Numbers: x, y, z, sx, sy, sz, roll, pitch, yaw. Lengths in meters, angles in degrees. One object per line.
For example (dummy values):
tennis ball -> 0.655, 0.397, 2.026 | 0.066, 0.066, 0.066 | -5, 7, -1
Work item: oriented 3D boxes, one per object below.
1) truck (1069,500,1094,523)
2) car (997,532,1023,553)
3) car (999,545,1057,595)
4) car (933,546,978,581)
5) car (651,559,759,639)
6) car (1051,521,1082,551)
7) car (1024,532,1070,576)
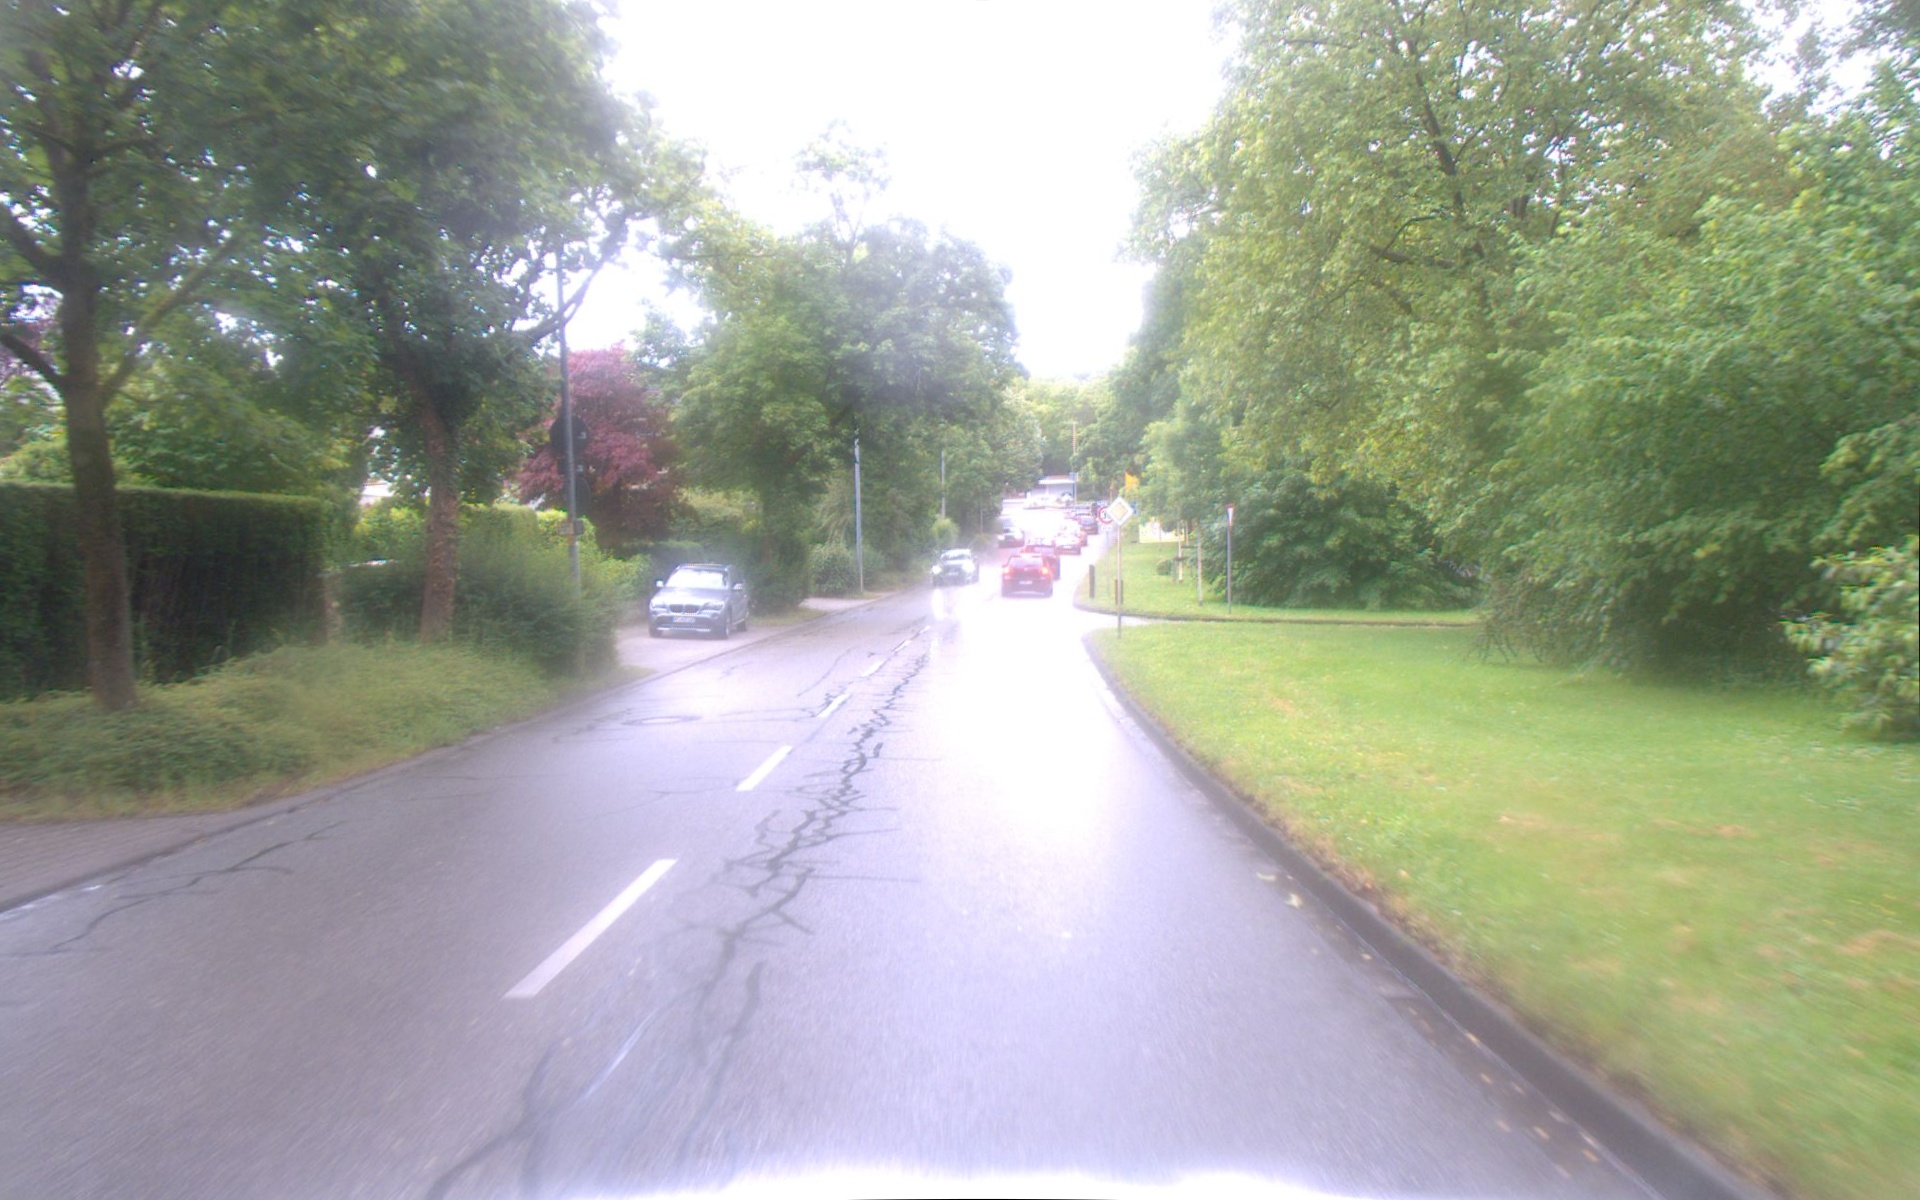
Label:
truck -> 11.631, -8.459, 158.051 | 2.366, 2.038, 5.156 | -1, 4, 5
car -> 3.706, -4.258, 122.220 | 1.717, 1.386, 4.329 | -3, 3, 4
car -> 2.439, -1.095, 58.329 | 1.760, 1.541, 3.758 | 1, 4, 6
car -> -0.162, -1.588, 71.824 | 1.654, 1.420, 4.493 | -2, 1, 3
car -> -5.679, -0.082, 37.319 | 1.629, 1.568, 4.286 | 2, 2, 1
car -> 7.058, -4.264, 109.113 | 1.816, 1.815, 4.005 | -1, 4, 6
car -> 3.980, -2.107, 75.269 | 1.816, 1.815, 4.005 | -1, 4, 6
